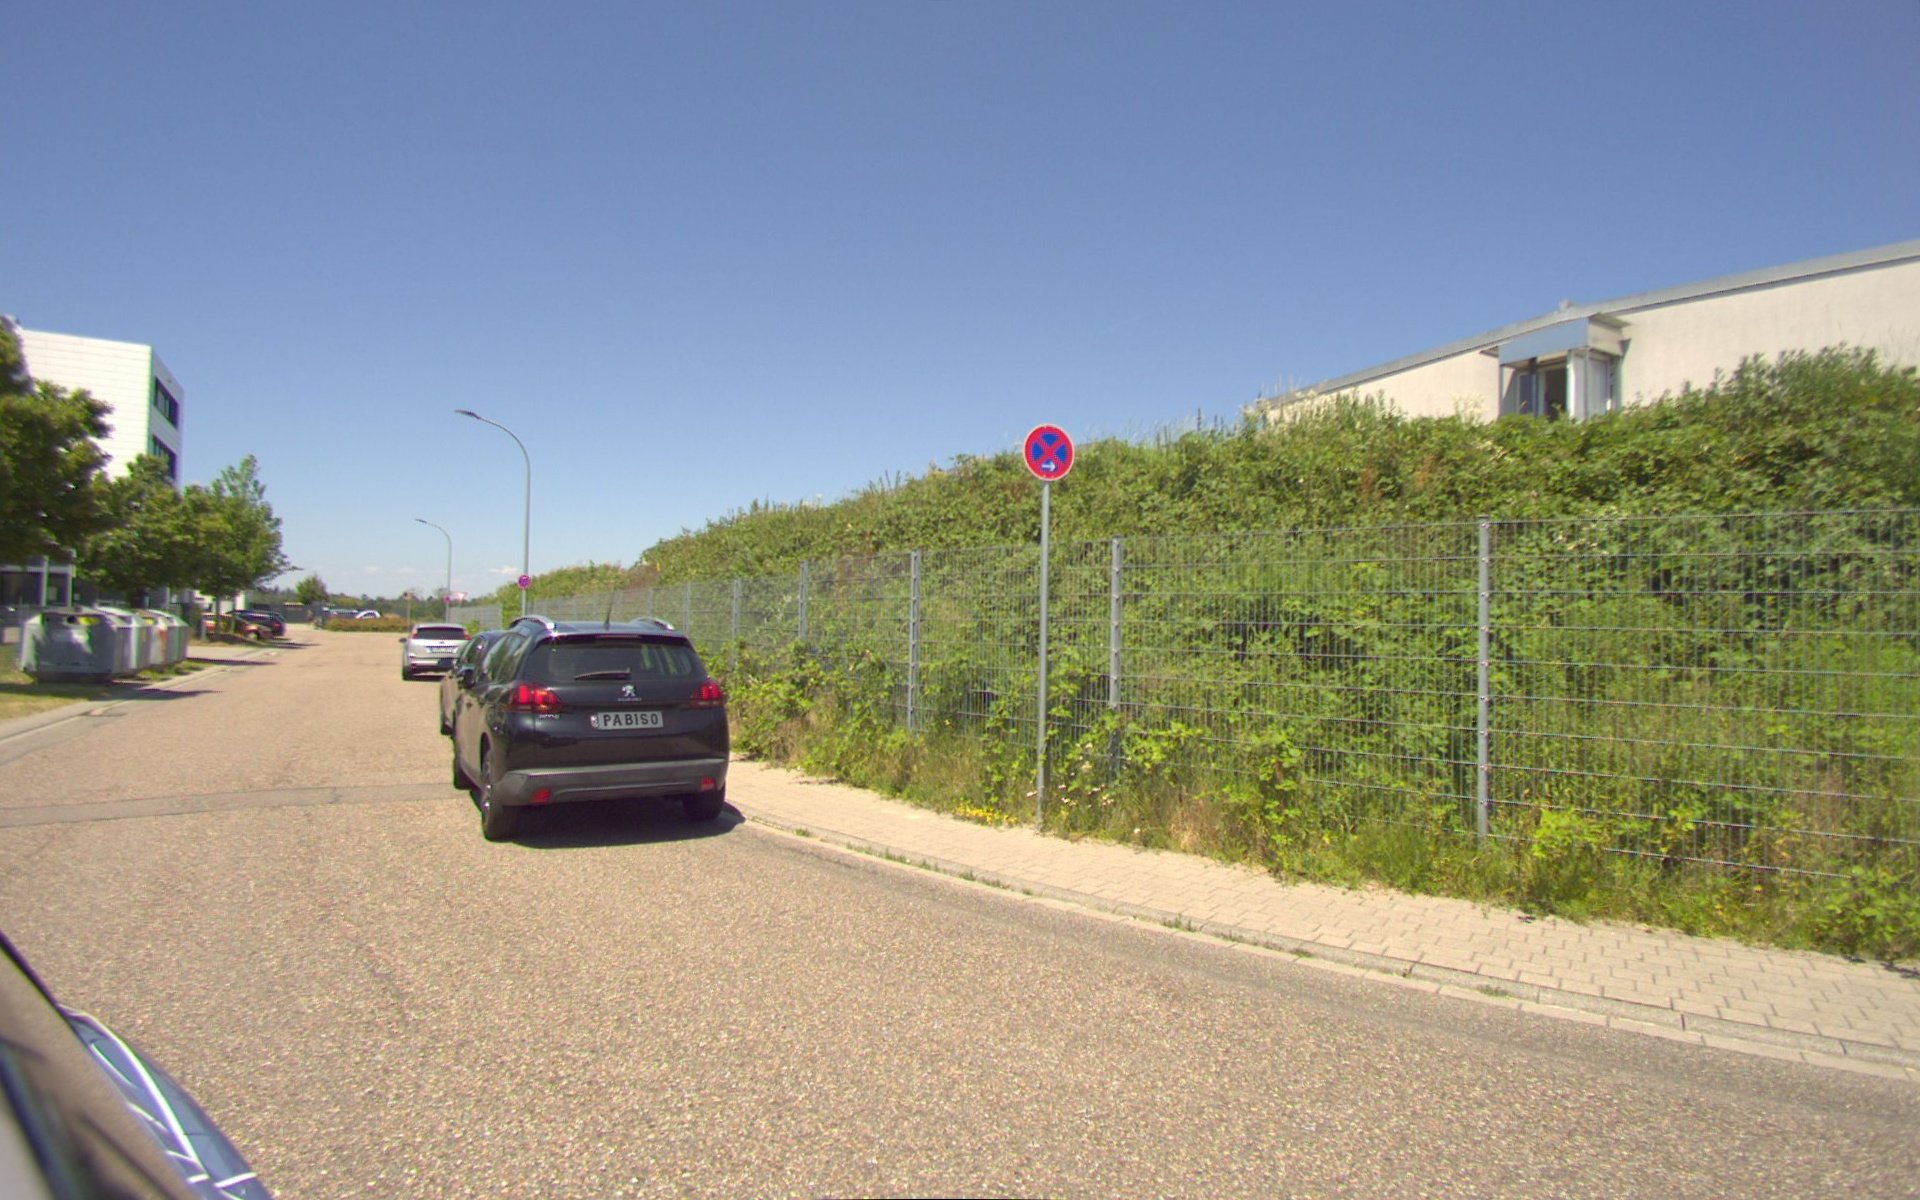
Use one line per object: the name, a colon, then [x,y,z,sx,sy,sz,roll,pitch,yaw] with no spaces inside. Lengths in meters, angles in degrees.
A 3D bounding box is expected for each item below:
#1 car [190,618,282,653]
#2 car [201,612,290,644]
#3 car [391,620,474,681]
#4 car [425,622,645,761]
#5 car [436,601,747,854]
car: [-39.293,1.889,55.019,3.932,1.716,1.896,-1,0,-31]
car: [-40.128,1.538,56.962,3.932,1.652,1.896,-1,0,-31]
car: [-14.455,1.345,27.717,1.823,1.531,3.960,3,-3,-28]
car: [-5.602,1.044,13.014,1.908,1.466,4.294,3,-3,-32]
car: [-3.295,0.865,8.494,1.631,1.567,4.145,3,-3,-31]
